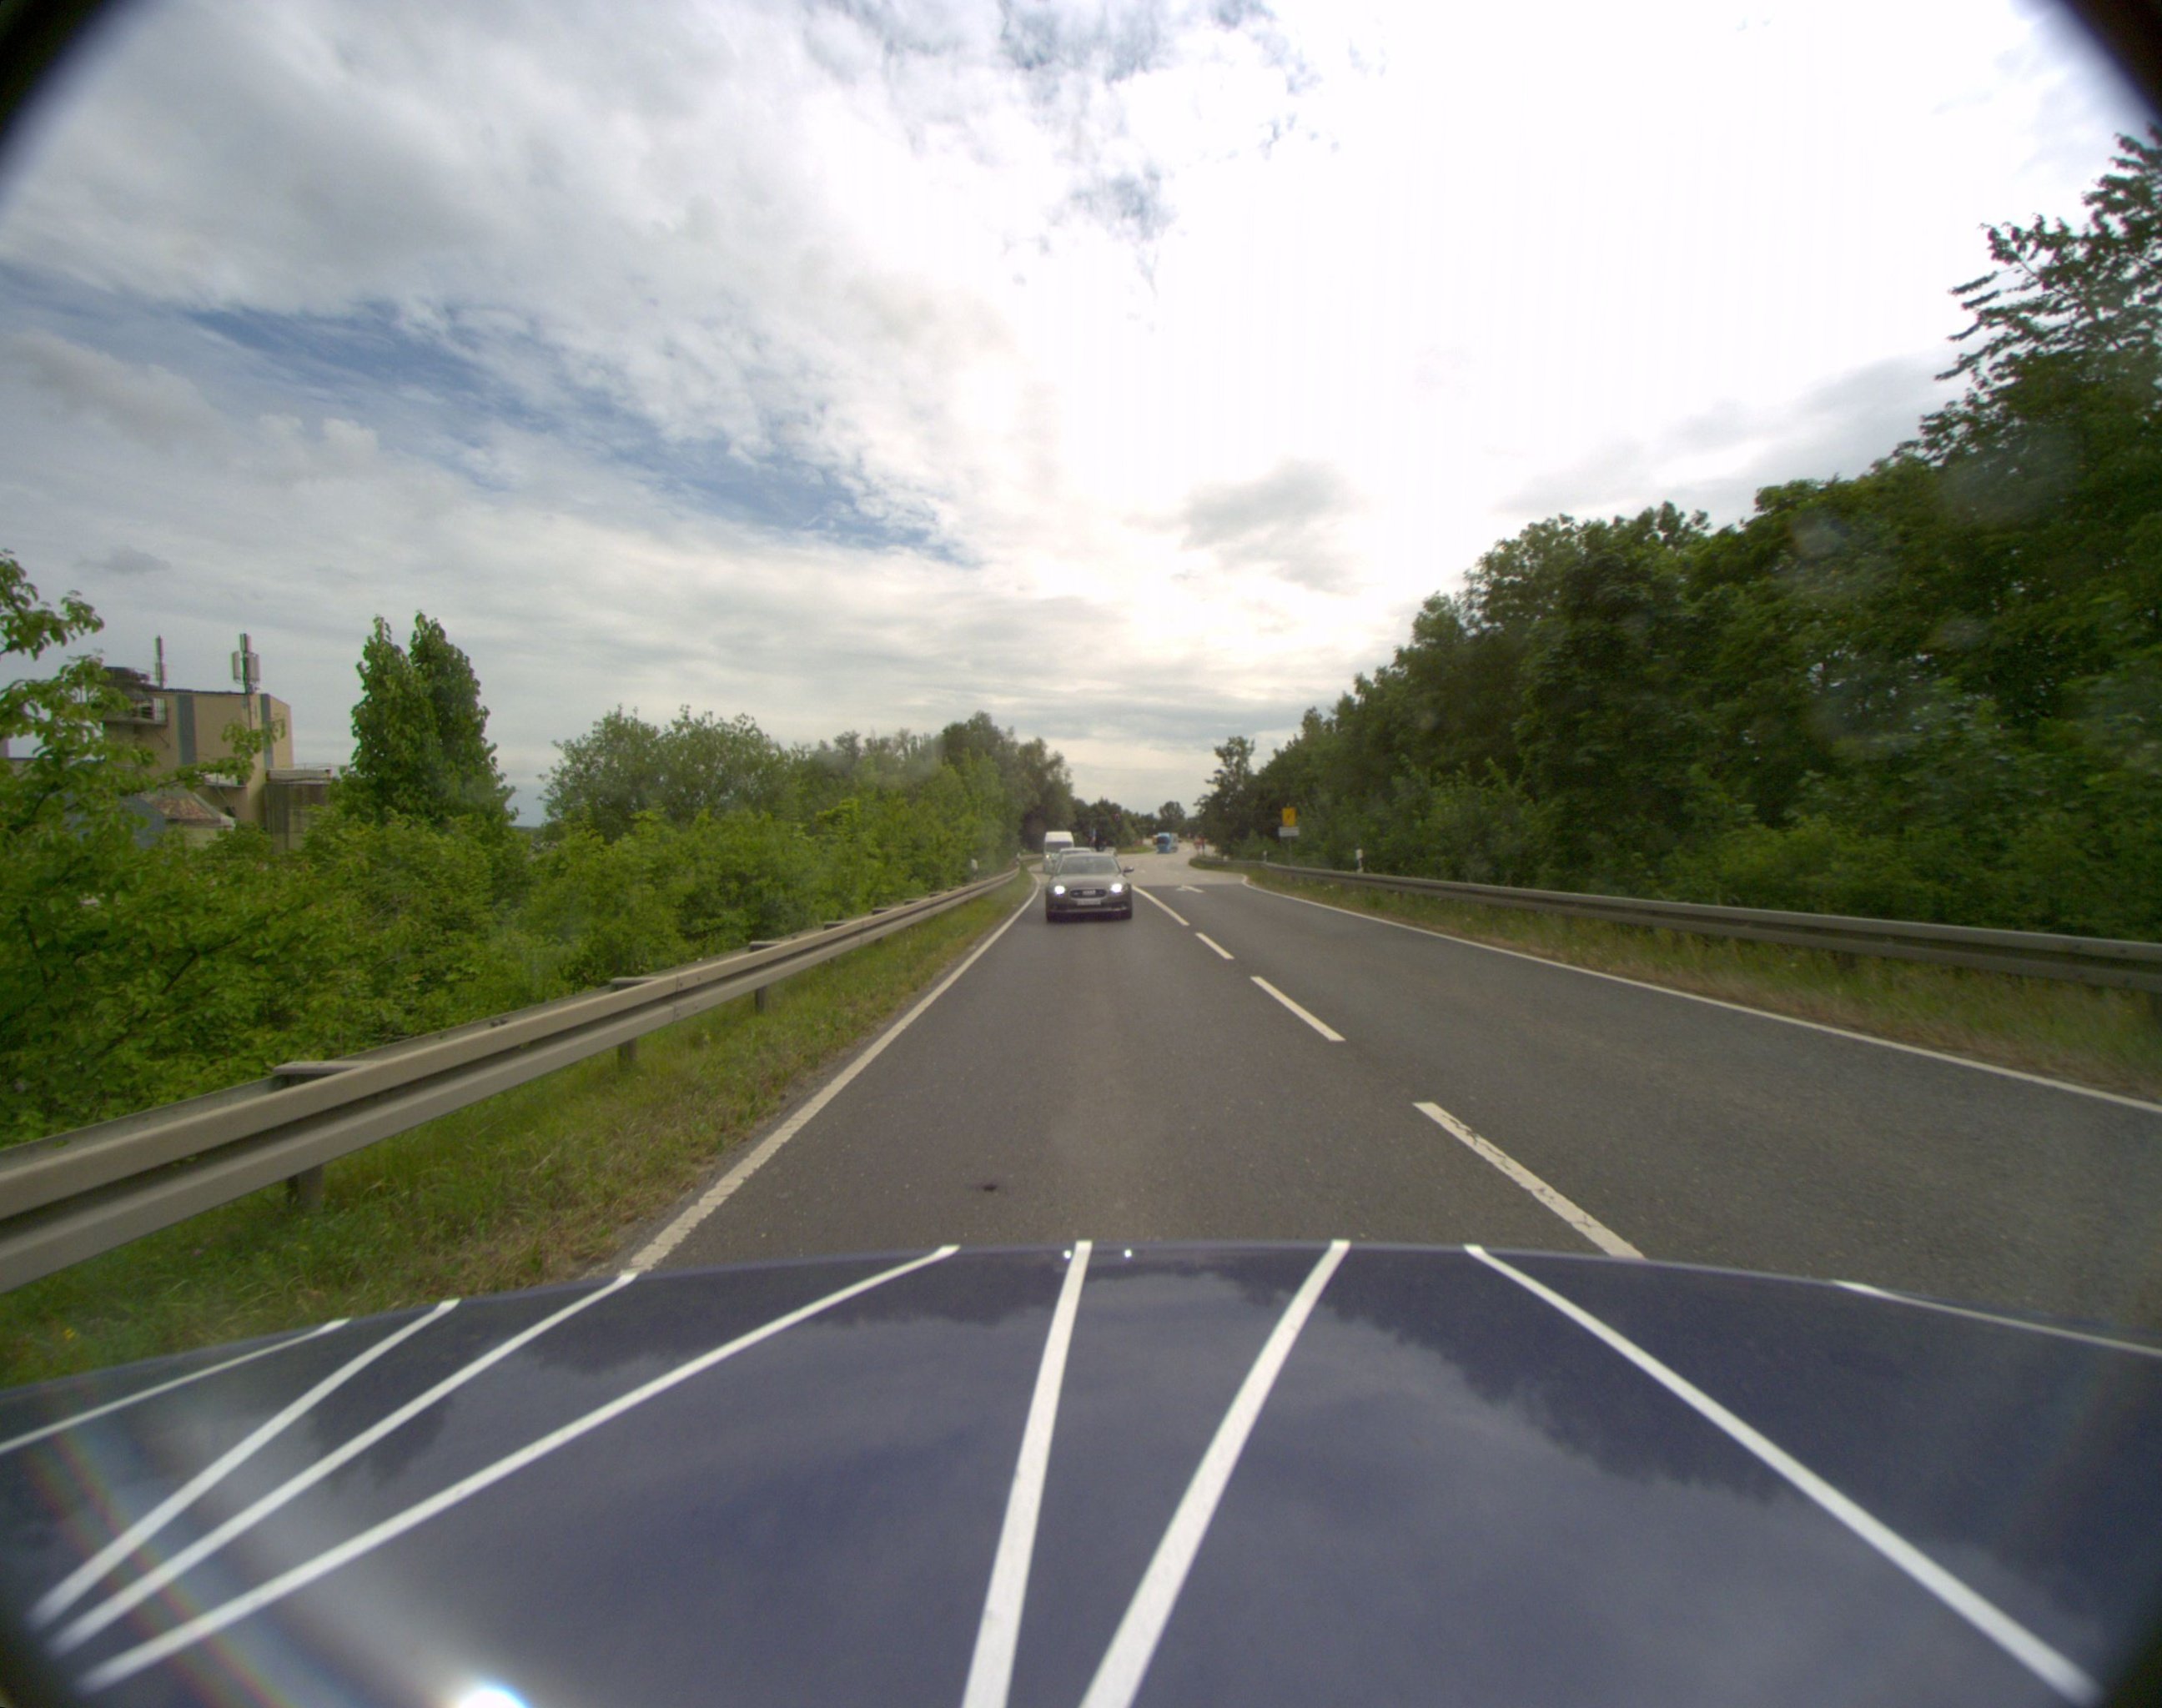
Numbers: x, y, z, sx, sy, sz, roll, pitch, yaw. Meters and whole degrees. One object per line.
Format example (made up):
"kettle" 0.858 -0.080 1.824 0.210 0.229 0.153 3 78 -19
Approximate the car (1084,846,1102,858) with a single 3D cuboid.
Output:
"car" 1.470 -0.225 90.312 1.743 1.317 4.001 3 1 5

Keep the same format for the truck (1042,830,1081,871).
"truck" -1.321 -0.299 50.821 2.379 2.579 5.996 1 2 -2

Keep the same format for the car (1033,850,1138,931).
"car" 0.267 0.708 17.193 1.964 1.447 4.797 -2 1 5

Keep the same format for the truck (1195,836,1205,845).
"truck" 35.205 -4.034 224.147 2.321 2.586 6.024 2 1 4

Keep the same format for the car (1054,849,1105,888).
"car" 0.015 0.569 32.989 1.826 1.489 4.225 2 1 5

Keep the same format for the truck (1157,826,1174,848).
"truck" 16.953 -3.387 152.130 3.024 4.326 9.575 1 2 8

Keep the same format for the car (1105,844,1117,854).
"car" 4.537 -0.795 115.124 1.744 1.317 4.000 3 1 3
